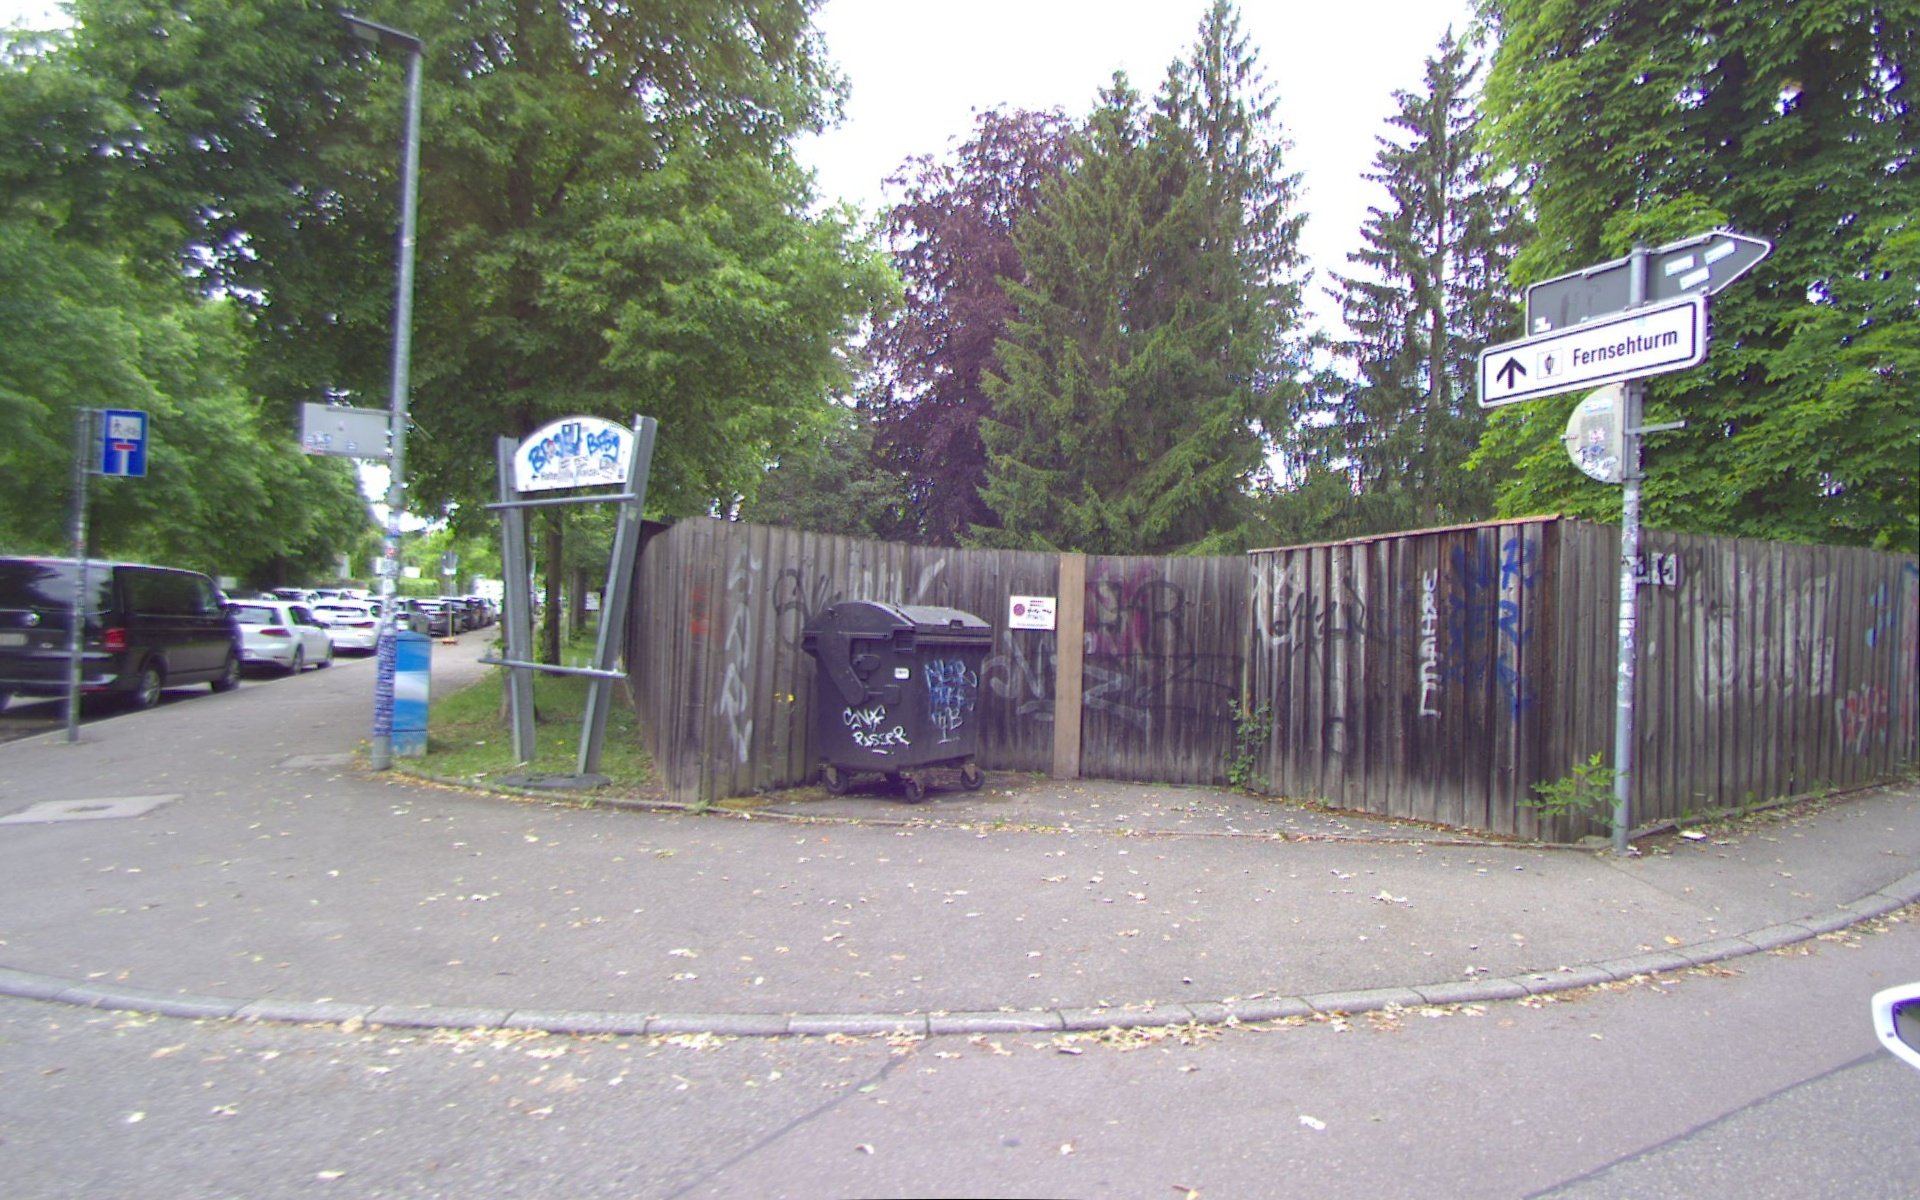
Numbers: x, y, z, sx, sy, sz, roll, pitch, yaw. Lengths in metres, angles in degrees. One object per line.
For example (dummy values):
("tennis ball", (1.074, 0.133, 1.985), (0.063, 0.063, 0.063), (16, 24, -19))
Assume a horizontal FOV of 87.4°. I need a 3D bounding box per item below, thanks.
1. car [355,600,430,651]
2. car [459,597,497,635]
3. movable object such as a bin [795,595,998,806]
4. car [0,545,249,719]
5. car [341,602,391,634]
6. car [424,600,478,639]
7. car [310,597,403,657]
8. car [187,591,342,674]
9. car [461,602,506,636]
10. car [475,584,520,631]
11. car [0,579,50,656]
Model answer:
("car", (-18.044, 0.797, 32.048), (1.451, 1.501, 3.176), (1, -1, -18))
("car", (-26.622, 0.890, 55.543), (1.451, 1.994, 3.176), (1, -1, -18))
("movable object such as a bin", (-0.458, 0.722, 7.796), (1.059, 1.461, 1.285), (0, -2, 26))
("car", (-11.719, 0.405, 13.855), (1.963, 2.040, 4.091), (1, -1, -18))
("car", (-29.578, 0.902, 50.077), (1.451, 1.501, 3.176), (1, -1, -18))
("car", (-20.544, 0.786, 40.599), (1.451, 1.501, 3.176), (1, -1, -18))
("car", (-16.173, 0.722, 27.071), (1.451, 1.501, 3.176), (1, -1, -18))
("car", (-13.673, 0.620, 19.963), (1.577, 1.501, 3.507), (1, -1, -18))
("car", (-22.103, 0.863, 46.655), (1.451, 1.501, 3.176), (1, -1, -18))
("car", (-31.271, 0.511, 68.102), (2.157, 3.055, 4.877), (1, -1, -18))
("car", (-21.072, 0.311, 20.965), (1.672, 1.616, 3.979), (4, -2, -21))
